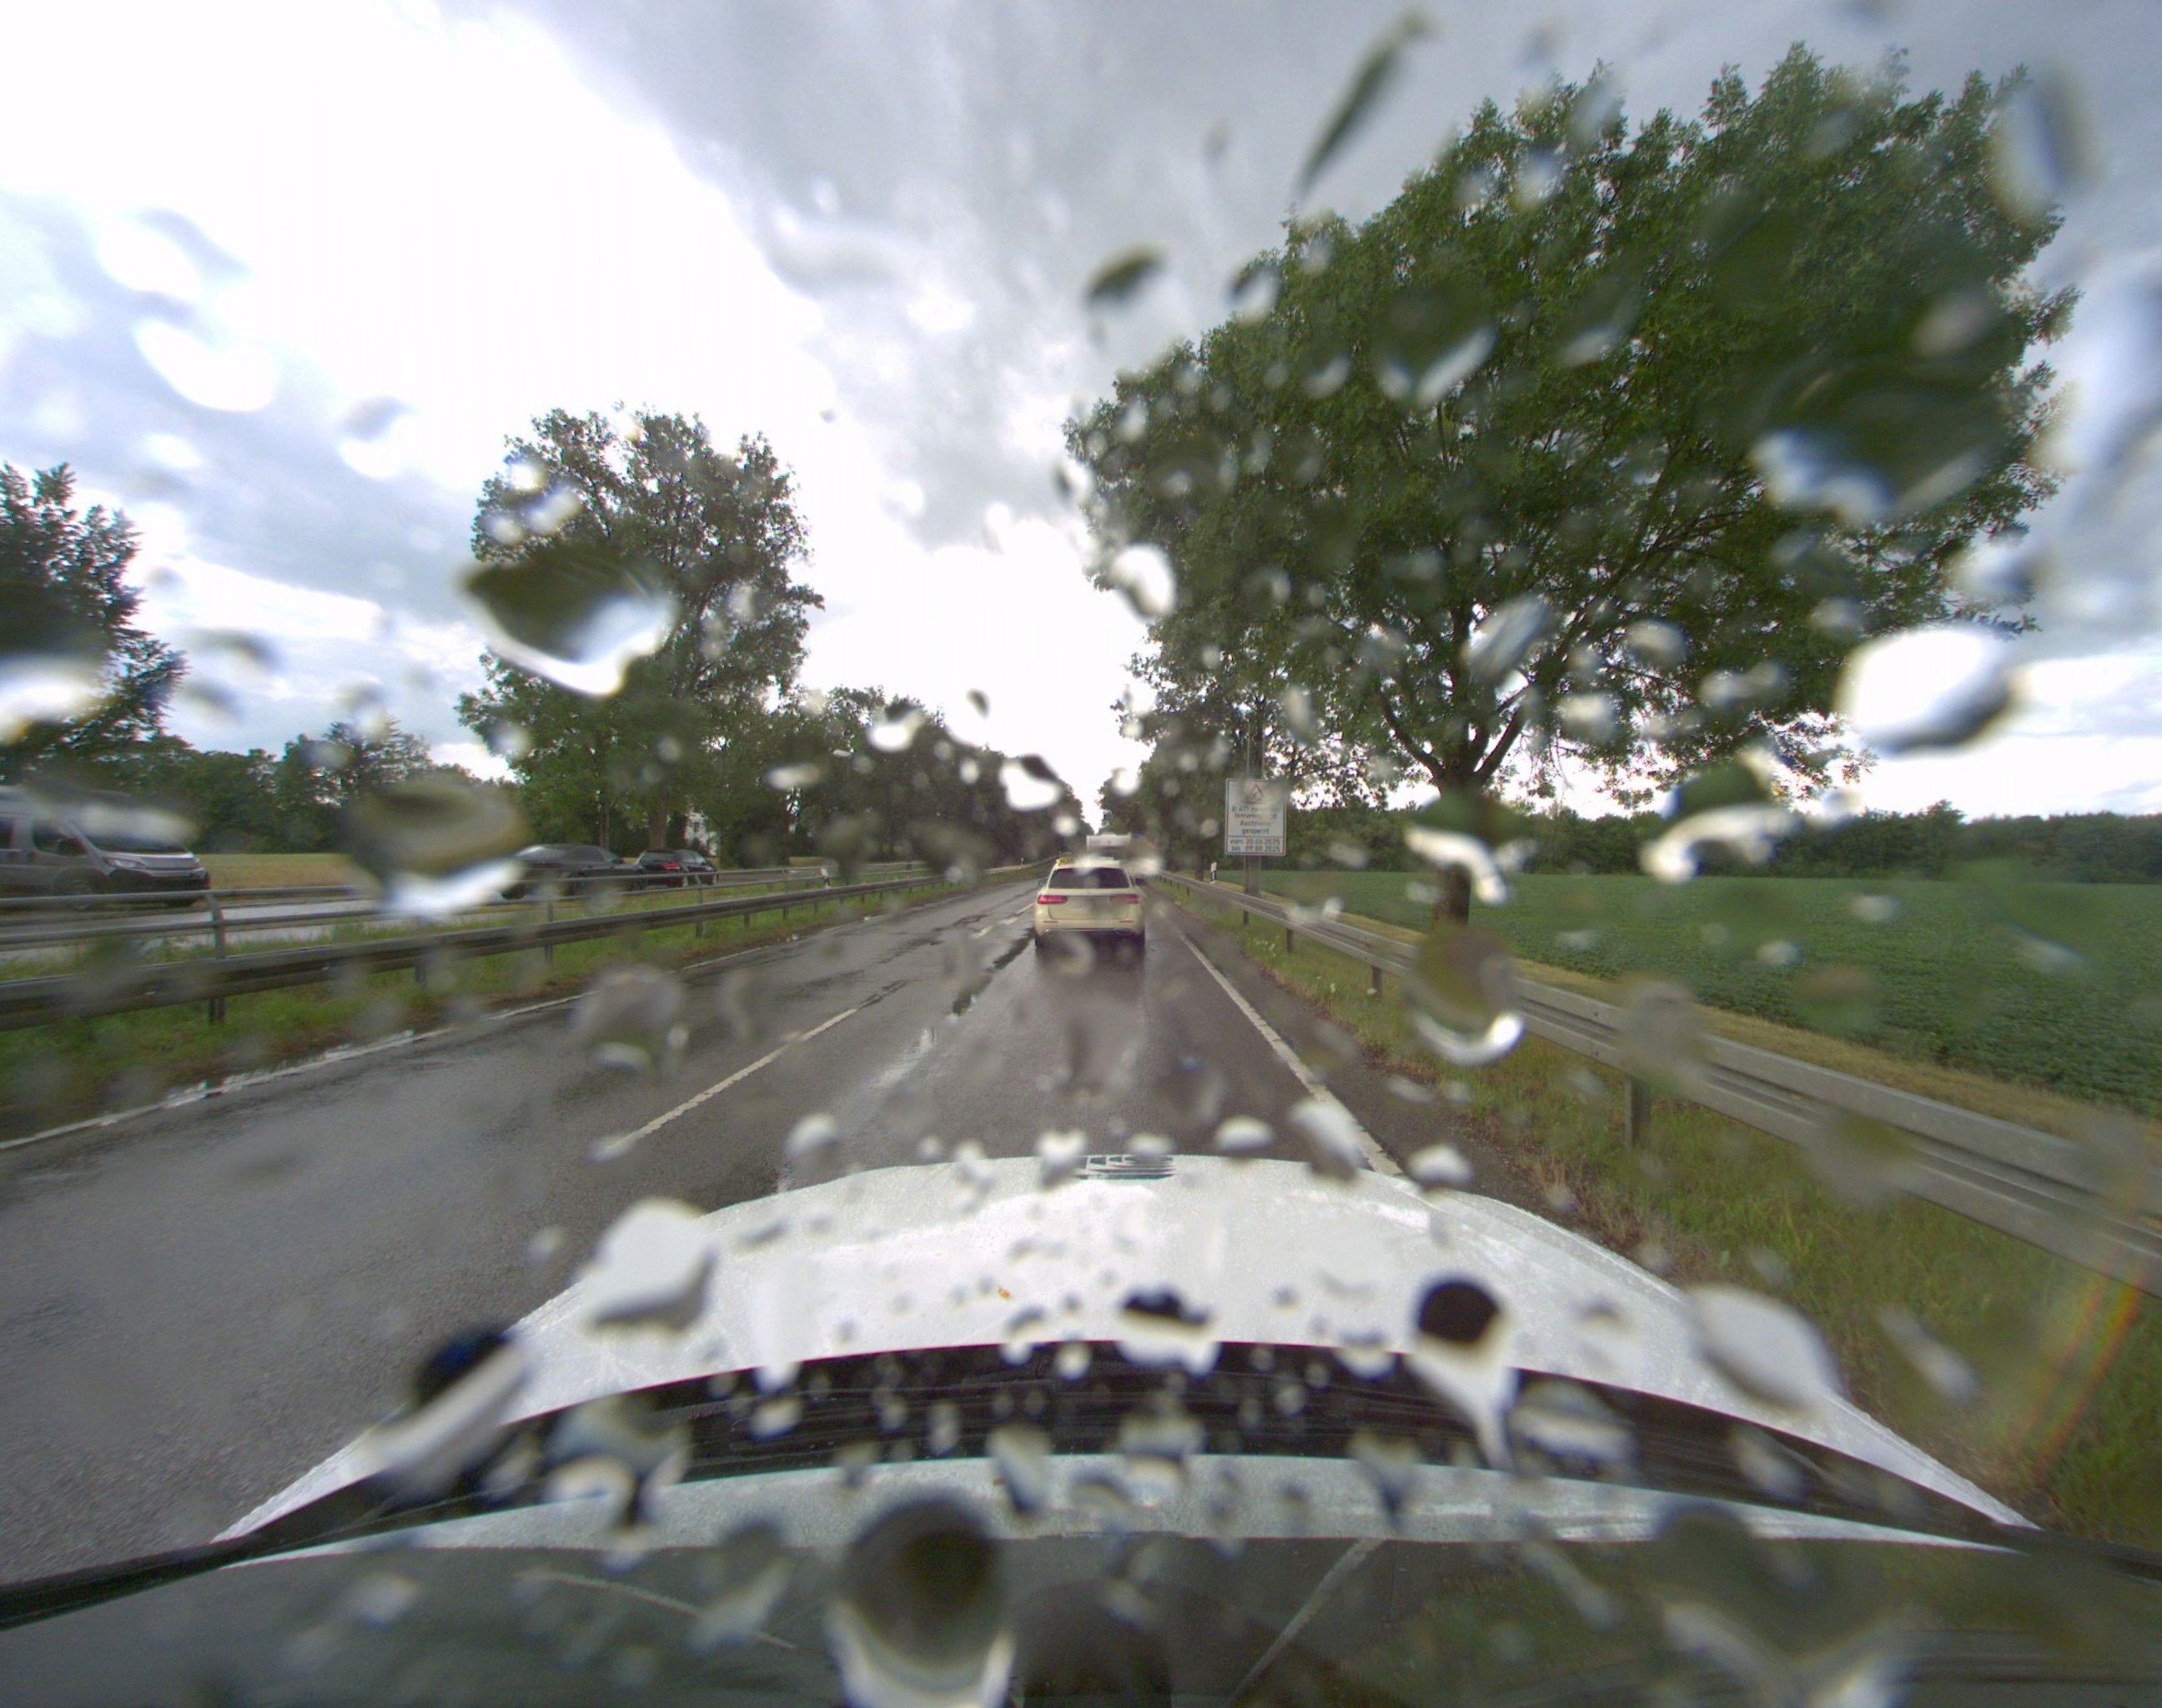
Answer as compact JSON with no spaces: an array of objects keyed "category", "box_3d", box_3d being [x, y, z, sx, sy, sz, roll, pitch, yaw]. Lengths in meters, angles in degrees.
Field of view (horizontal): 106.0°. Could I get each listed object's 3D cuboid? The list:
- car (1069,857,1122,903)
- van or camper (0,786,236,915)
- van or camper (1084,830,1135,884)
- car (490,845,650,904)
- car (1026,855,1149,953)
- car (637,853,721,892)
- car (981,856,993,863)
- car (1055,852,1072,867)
[{"category":"car","box_3d":[0.563,0.843,28.028,1.657,1.430,4.003,-1,0,3]},{"category":"van or camper","box_3d":[-23.095,-0.100,18.197,5.864,2.677,2.078,1,0,-5]},{"category":"van or camper","box_3d":[1.569,0.156,43.096,2.479,2.685,5.705,0,0,3]},{"category":"car","box_3d":[-14.440,0.519,23.423,1.511,1.491,5.117,1,0,-2]},{"category":"car","box_3d":[0.211,0.767,14.475,1.857,1.476,4.003,-1,0,3]},{"category":"car","box_3d":[-14.639,0.618,29.861,1.279,1.331,3.895,0,0,-2]},{"category":"car","box_3d":[-20.426,1.148,176.861,1.778,1.416,4.003,1,0,3]},{"category":"car","box_3d":[-1.948,0.649,93.250,1.758,1.619,4.001,-1,0,1]}]
